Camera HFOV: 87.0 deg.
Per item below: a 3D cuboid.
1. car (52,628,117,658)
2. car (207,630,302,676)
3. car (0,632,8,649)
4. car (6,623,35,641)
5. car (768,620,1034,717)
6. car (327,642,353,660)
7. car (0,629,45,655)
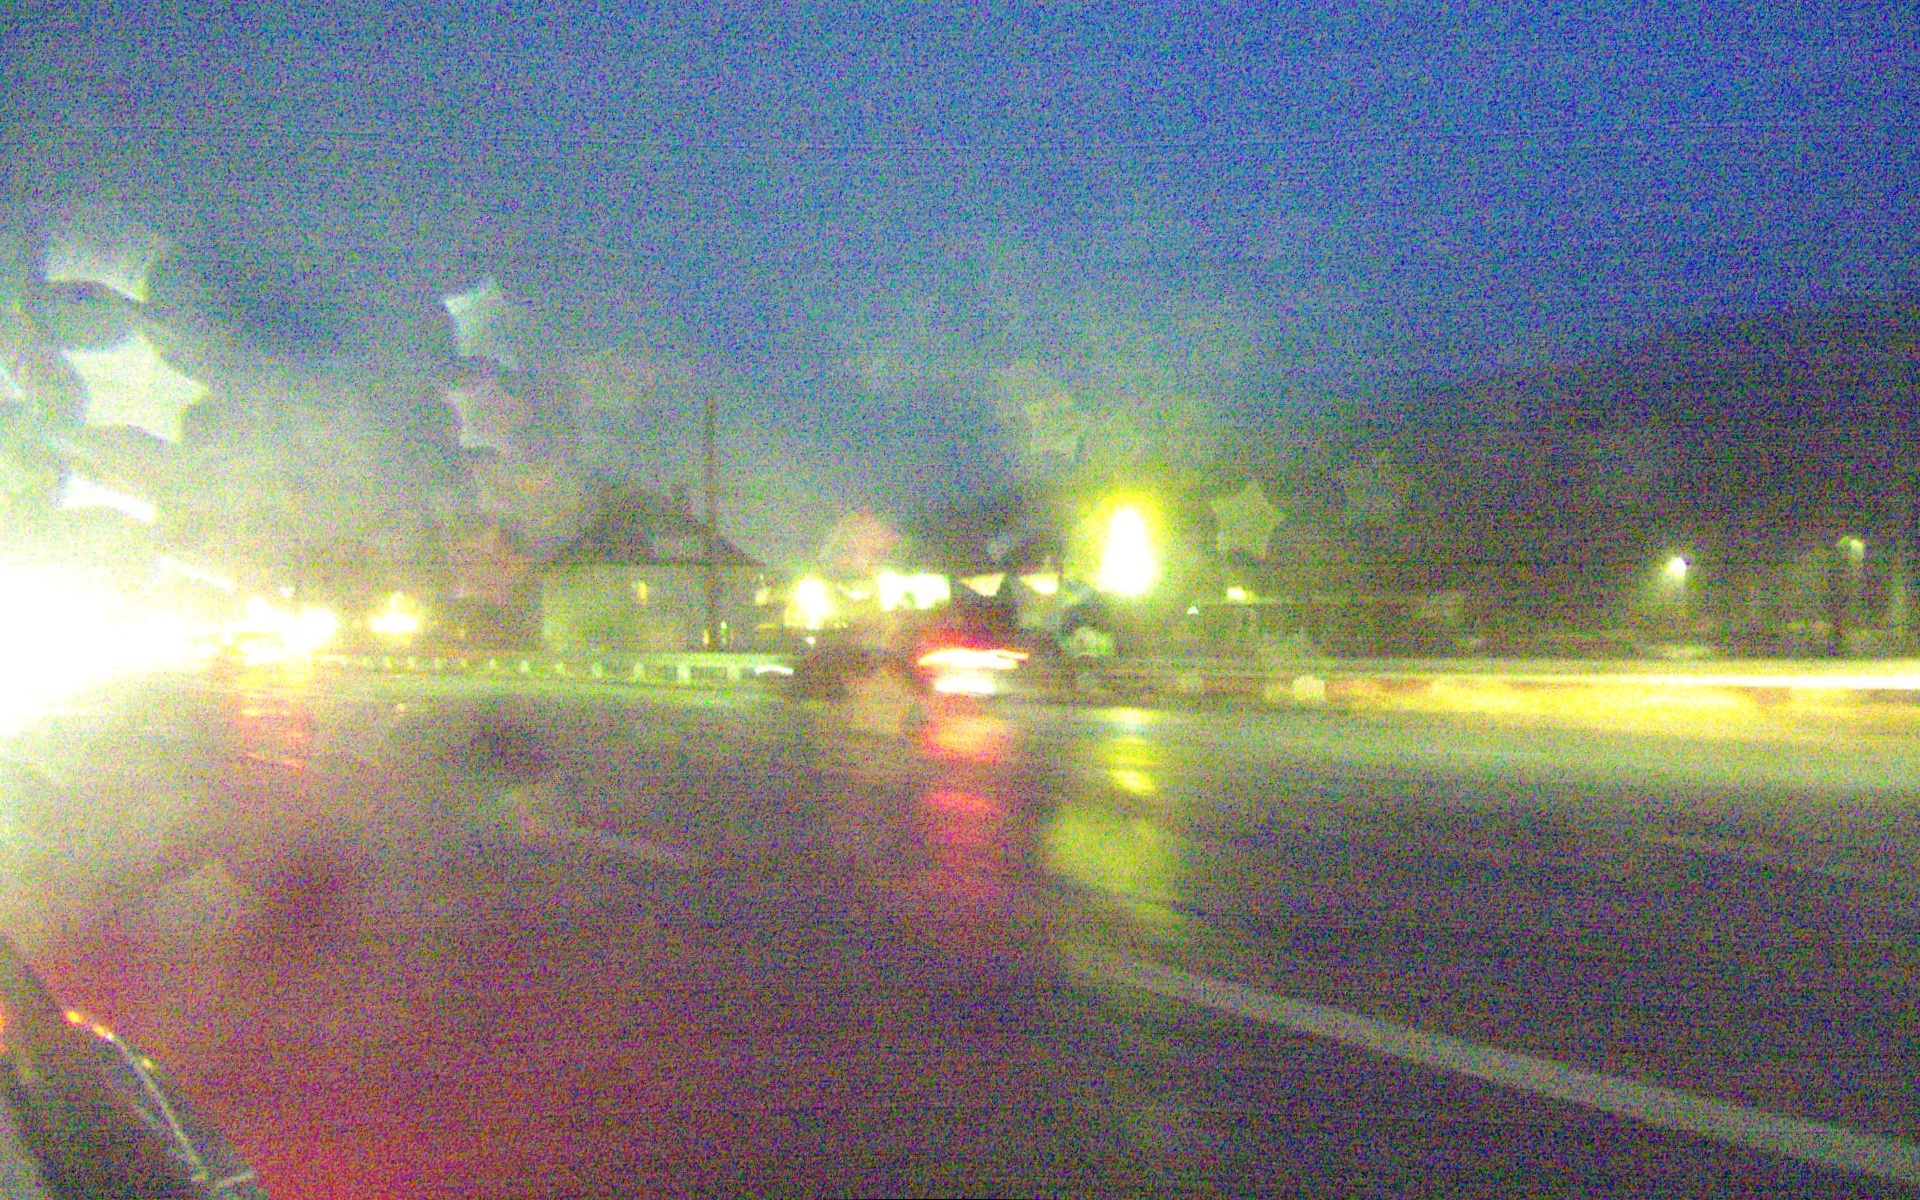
[{"bbox_3d":[-45.846,2.213,52.970,4.485,1.453,1.815,-1,-1,39],"label":"car"},{"bbox_3d":[-24.543,1.806,35.151,3.852,1.452,1.772,-2,-1,40],"label":"car"},{"bbox_3d":[-103.605,4.373,108.661,1.969,1.744,4.005,0,-1,-42],"label":"car"},{"bbox_3d":[-84.691,2.875,91.263,1.859,1.612,3.904,0,-1,-43],"label":"car"},{"bbox_3d":[-1.052,1.054,16.815,4.243,1.408,1.858,-1,-2,38],"label":"car"},{"bbox_3d":[-76.223,6.240,124.338,1.970,2.029,4.004,0,-1,-43],"label":"car"},{"bbox_3d":[-67.603,3.018,72.866,4.524,1.758,2.174,-2,-1,42],"label":"car"}]
